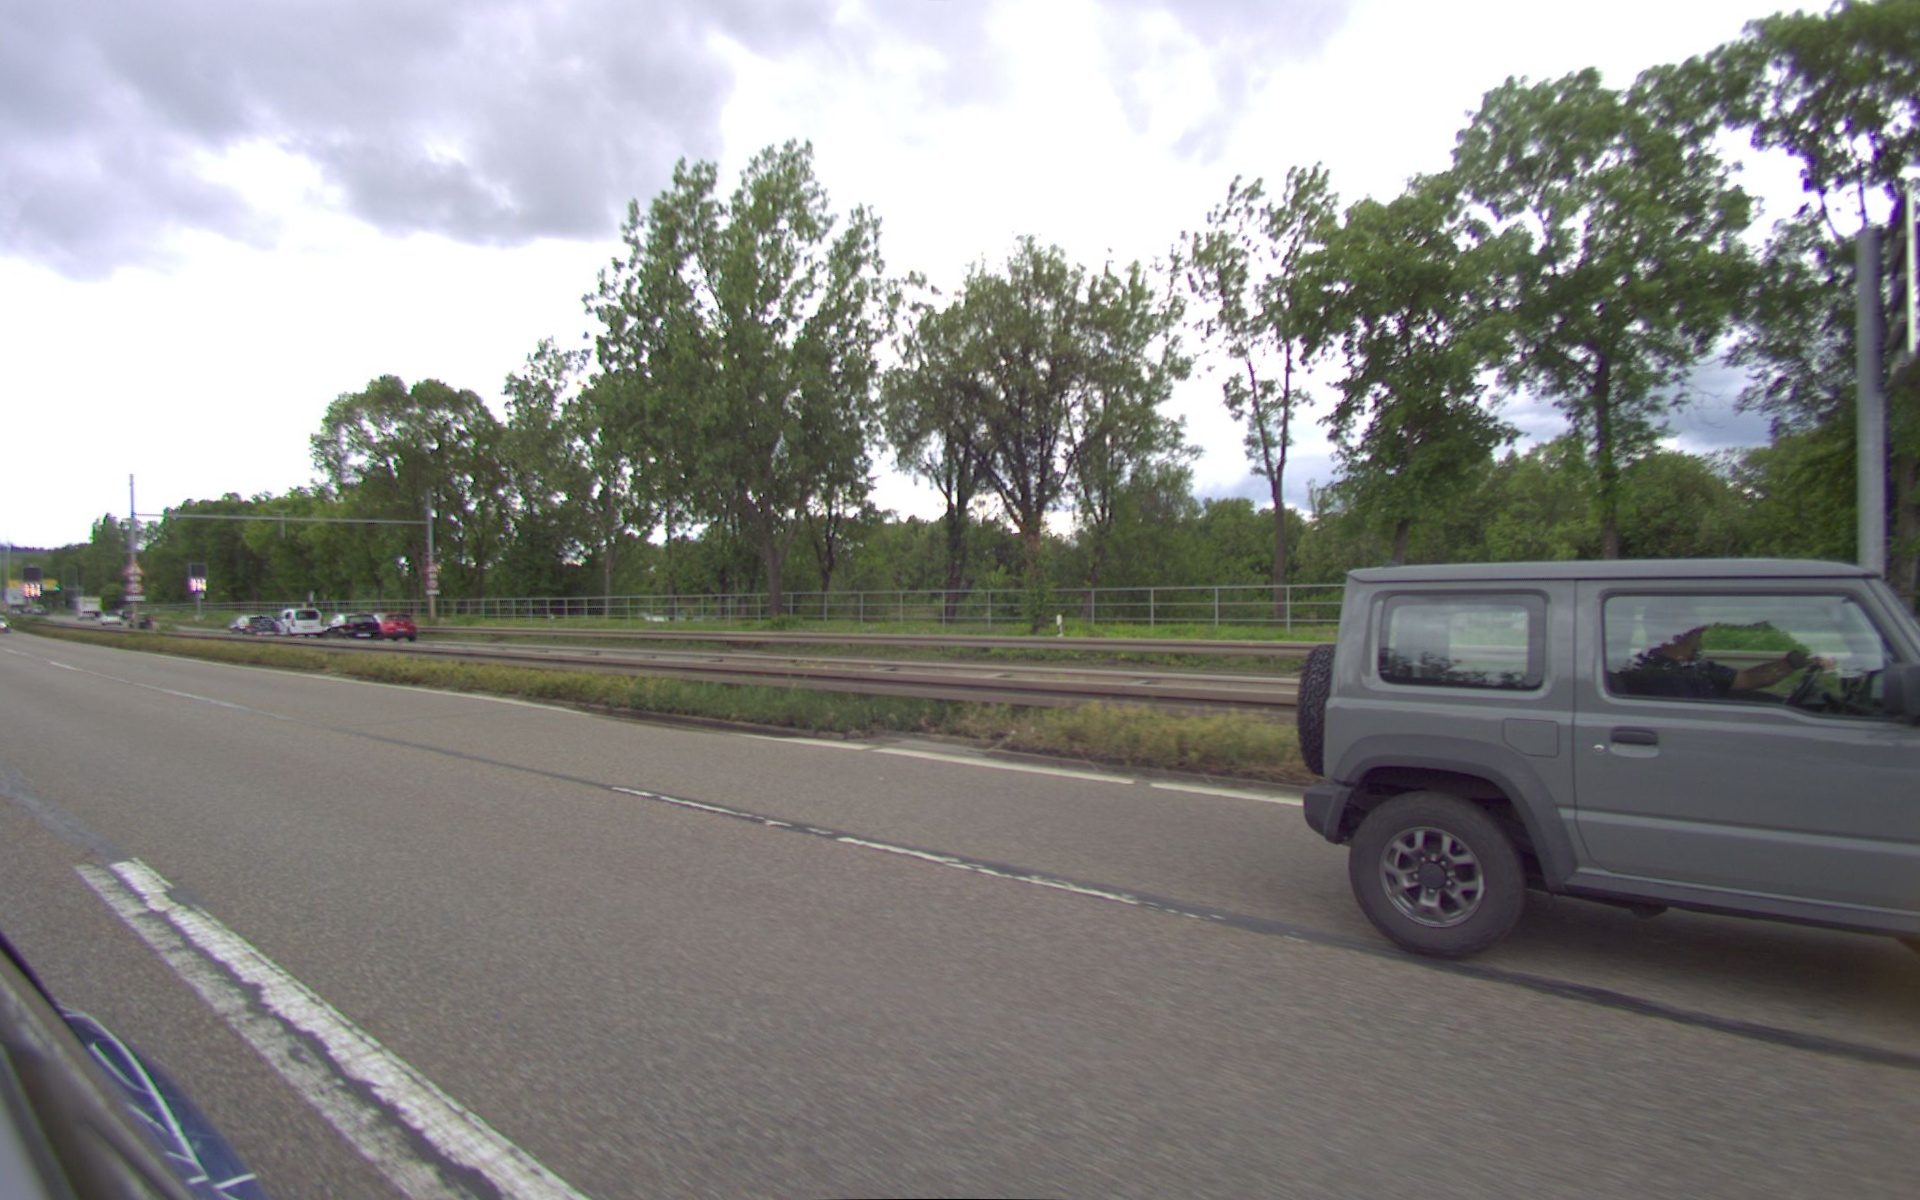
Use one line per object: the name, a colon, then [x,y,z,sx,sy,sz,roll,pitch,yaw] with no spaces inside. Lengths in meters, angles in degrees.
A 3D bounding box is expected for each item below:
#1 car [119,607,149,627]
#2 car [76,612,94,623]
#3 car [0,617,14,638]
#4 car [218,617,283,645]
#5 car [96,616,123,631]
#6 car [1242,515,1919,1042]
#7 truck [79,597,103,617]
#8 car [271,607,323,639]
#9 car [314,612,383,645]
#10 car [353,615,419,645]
car: [-75.090,1.575,92.038,3.743,1.788,1.707,-1,-1,44]
car: [-132.712,2.729,153.426,4.540,1.617,1.678,-2,-2,45]
car: [-81.969,2.368,86.129,4.147,1.738,1.858,-2,0,44]
car: [-40.164,1.746,57.221,5.549,1.476,1.841,-1,-1,42]
car: [-99.292,2.719,118.102,4.719,1.687,1.846,-1,-1,43]
car: [3.389,0.599,4.117,3.994,1.699,1.681,-1,-2,38]
truck: [-157.613,1.292,183.504,2.855,3.606,9.596,-1,0,-43]
car: [-41.281,1.438,62.955,4.561,1.898,1.593,-1,-1,42]
car: [-27.693,1.276,45.797,3.910,1.435,1.643,-1,-1,42]
car: [-30.234,1.546,53.257,4.380,1.476,1.699,-1,-1,42]
